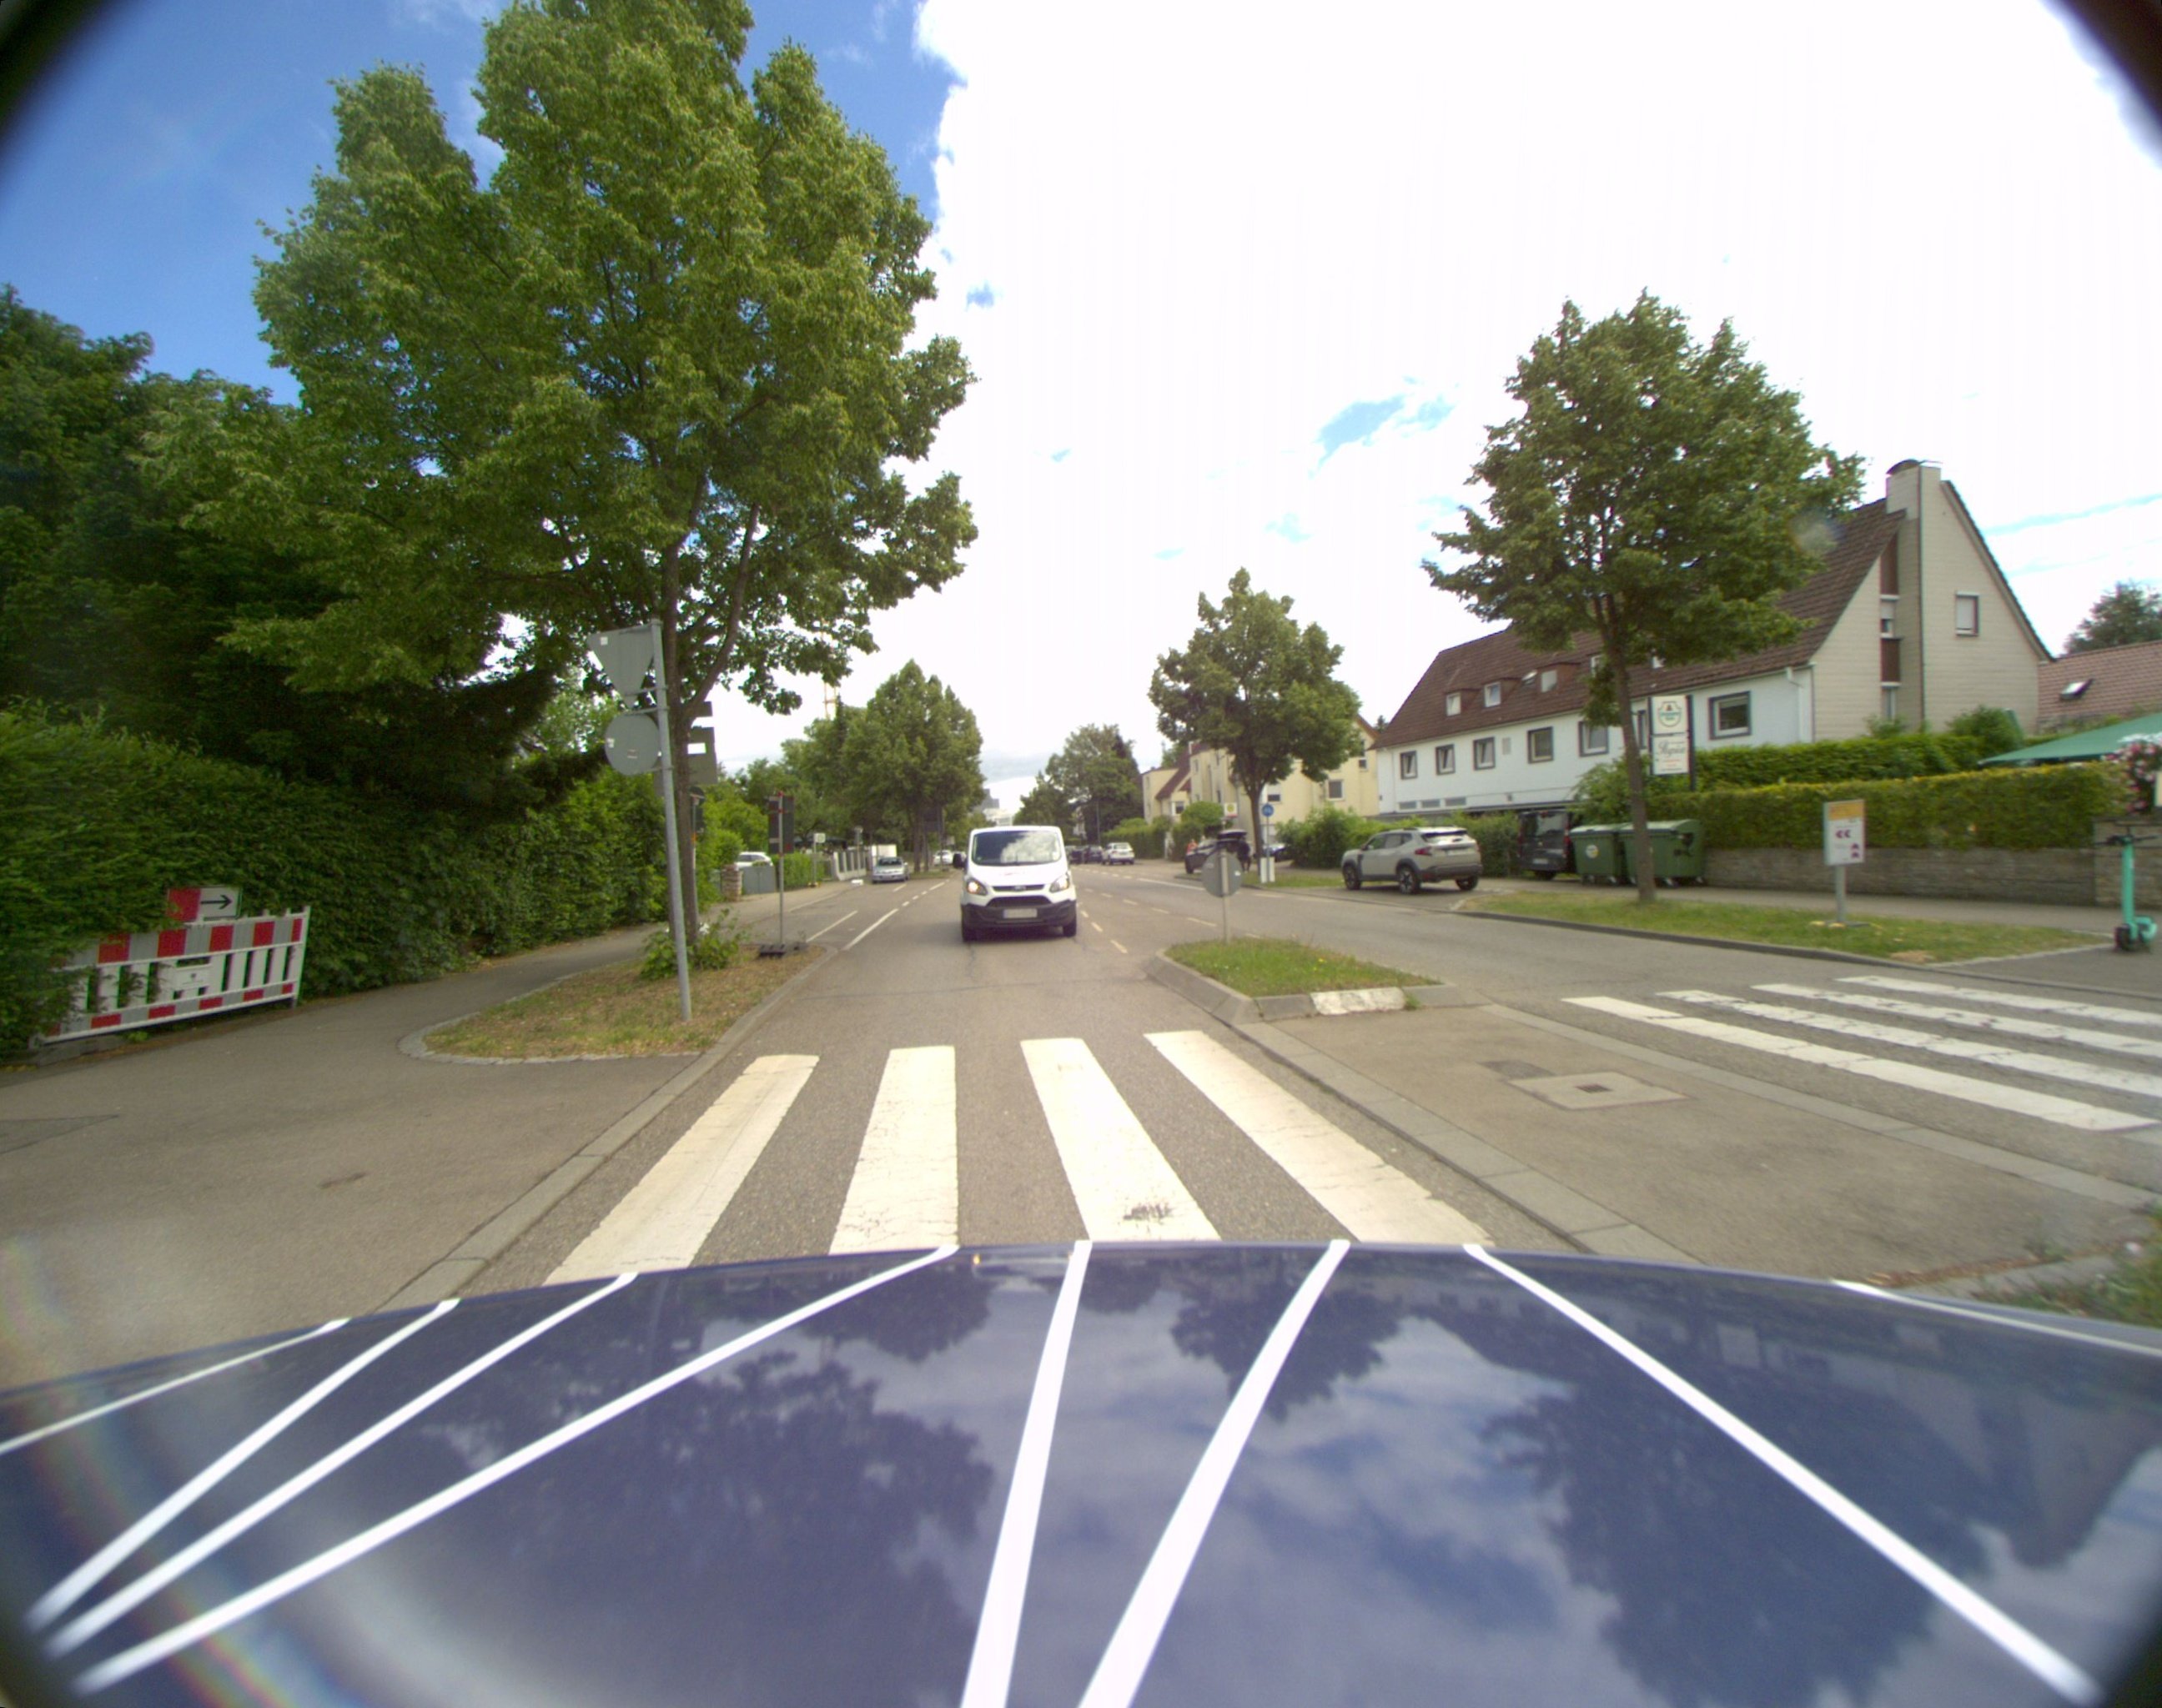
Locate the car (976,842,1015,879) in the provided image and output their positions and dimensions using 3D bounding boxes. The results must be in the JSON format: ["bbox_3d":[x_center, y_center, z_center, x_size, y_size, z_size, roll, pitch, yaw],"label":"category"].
[{"bbox_3d":[-4.568,0.299,40.884,1.927,1.744,3.997,-3,1,-5],"label":"car"}]

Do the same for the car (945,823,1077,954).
[{"bbox_3d":[-1.217,0.503,14.654,1.999,2.002,5.048,-3,1,-2],"label":"car"}]

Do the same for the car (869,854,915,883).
[{"bbox_3d":[-10.302,0.762,41.688,1.812,1.334,3.997,-3,1,-6],"label":"car"}]

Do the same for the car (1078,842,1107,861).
[{"bbox_3d":[0.949,-0.229,63.951,1.667,1.467,3.742,-3,1,-11],"label":"car"}]

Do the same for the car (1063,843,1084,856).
[{"bbox_3d":[-0.772,-0.437,76.145,1.605,1.220,3.191,-3,1,-10],"label":"car"}]

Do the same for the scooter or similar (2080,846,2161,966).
[{"bbox_3d":[10.695,0.506,7.809,1.049,1.125,0.380,-3,2,-30],"label":"scooter or similar"}]

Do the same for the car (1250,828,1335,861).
[{"bbox_3d":[11.403,-0.517,40.997,4.049,1.531,1.750,-3,1,-14],"label":"car"}]

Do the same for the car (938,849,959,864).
[{"bbox_3d":[-13.777,0.254,78.980,1.812,1.334,3.997,-3,1,-6],"label":"car"}]

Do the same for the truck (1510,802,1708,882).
[{"bbox_3d":[14.365,-0.338,20.744,4.502,1.840,1.863,-3,1,-13],"label":"truck"}]

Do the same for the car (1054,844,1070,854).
[{"bbox_3d":[-2.401,-0.651,95.565,1.498,1.220,3.191,-3,1,-9],"label":"car"}]

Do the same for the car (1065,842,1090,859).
[{"bbox_3d":[-0.364,-0.371,71.991,1.611,1.525,3.742,-3,1,-11],"label":"car"}]

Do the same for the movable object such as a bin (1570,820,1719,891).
[{"bbox_3d":[12.536,0.019,17.056,0.984,1.408,2.719,-3,1,-10],"label":"movable object such as a bin"}]

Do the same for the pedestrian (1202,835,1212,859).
[{"bbox_3d":[7.289,-0.394,44.040,0.387,1.357,0.412,-3,2,-6],"label":"pedestrian"}]

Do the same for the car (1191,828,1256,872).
[{"bbox_3d":[6.470,-0.218,35.017,1.752,1.819,4.045,-3,1,-6],"label":"car"}]

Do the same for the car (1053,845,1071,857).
[{"bbox_3d":[-2.056,-0.352,81.714,1.498,1.159,3.191,-3,1,-9],"label":"car"}]

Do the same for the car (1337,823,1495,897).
[{"bbox_3d":[8.523,0.122,19.750,1.752,1.627,4.043,-3,1,-10],"label":"car"}]

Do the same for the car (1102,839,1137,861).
[{"bbox_3d":[2.846,-0.308,57.085,1.762,1.553,3.742,-3,1,-11],"label":"car"}]
